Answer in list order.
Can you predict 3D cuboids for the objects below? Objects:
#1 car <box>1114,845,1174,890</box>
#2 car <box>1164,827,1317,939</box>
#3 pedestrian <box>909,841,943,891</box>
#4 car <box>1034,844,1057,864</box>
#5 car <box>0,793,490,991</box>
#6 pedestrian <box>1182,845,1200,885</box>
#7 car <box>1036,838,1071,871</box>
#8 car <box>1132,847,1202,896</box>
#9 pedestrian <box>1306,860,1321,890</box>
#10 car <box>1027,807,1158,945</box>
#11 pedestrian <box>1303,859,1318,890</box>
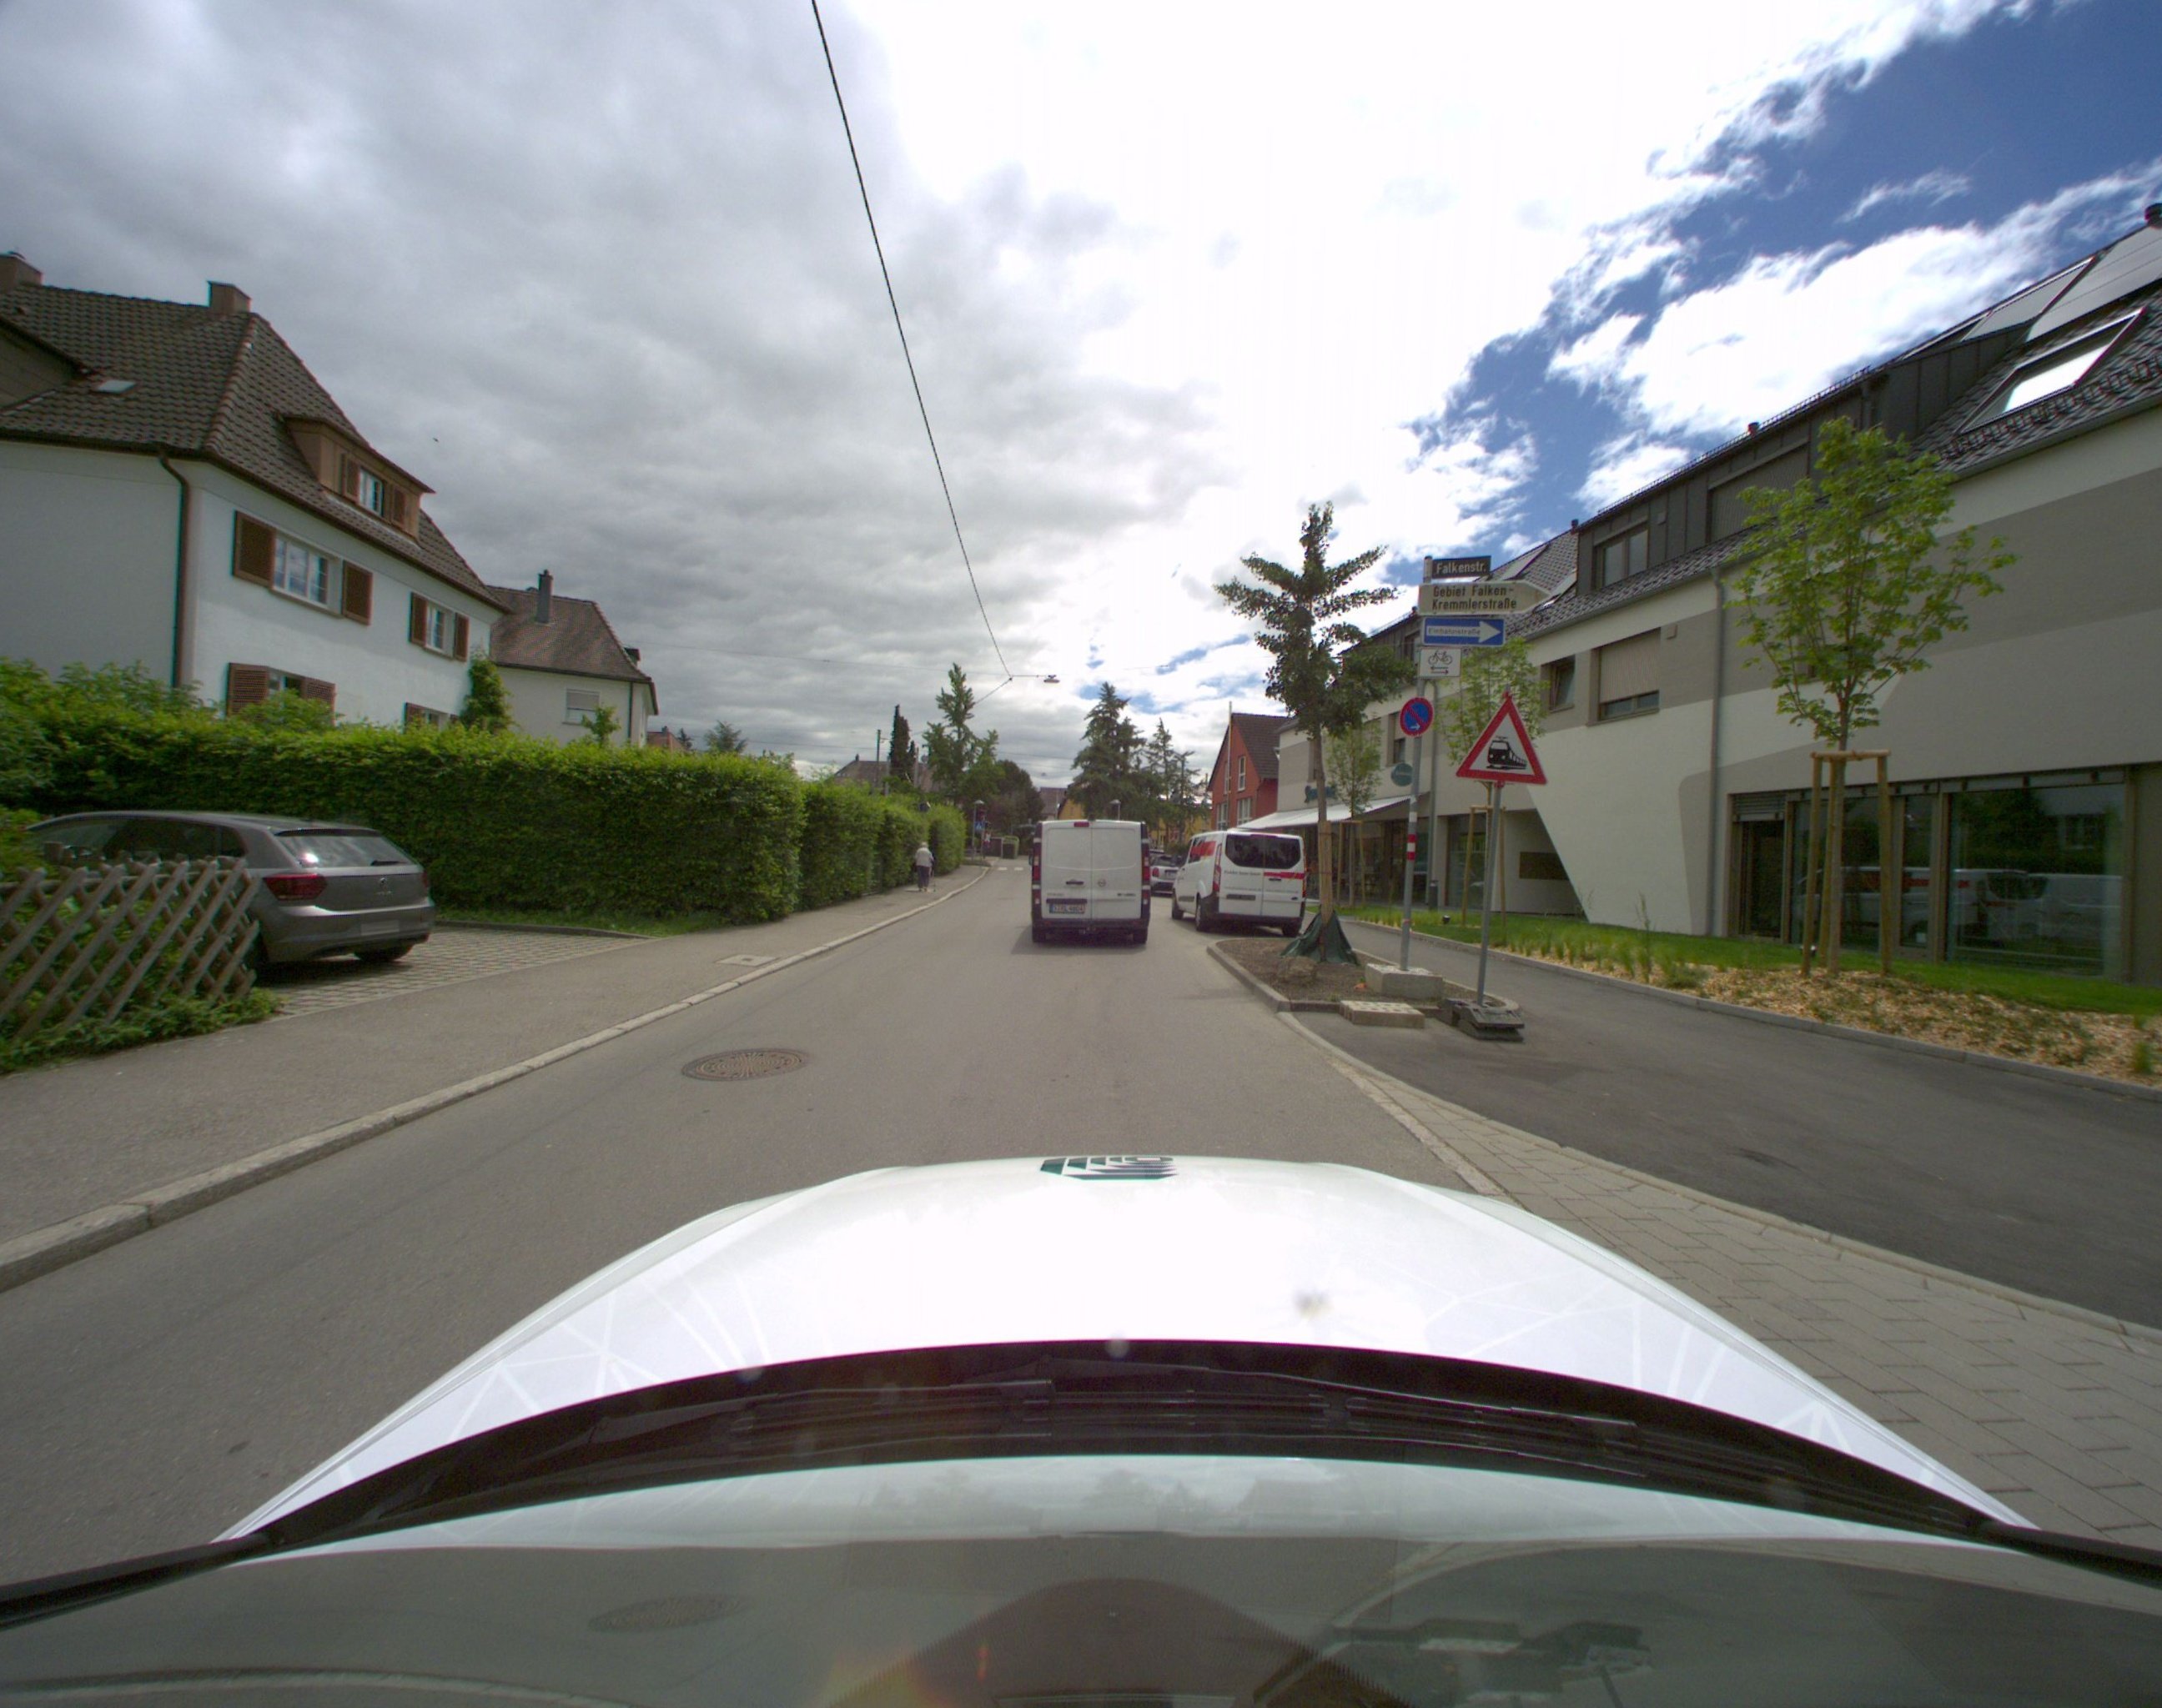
[{"bbox_3d":[2.534,0.502,33.591,1.699,1.614,4.251,4,0,-5],"label":"car"},{"bbox_3d":[3.143,0.540,17.202,1.954,1.916,4.896,4,-1,-3],"label":"car"},{"bbox_3d":[-4.891,0.377,25.662,0.879,1.485,0.452,4,-1,-22],"label":"pedestrian"},{"bbox_3d":[-3.245,0.039,74.764,1.988,1.782,3.997,1,0,-2],"label":"car"},{"bbox_3d":[-8.098,0.290,7.631,3.660,1.434,1.817,4,-1,0],"label":"car"},{"bbox_3d":[4.654,0.461,34.459,0.589,1.607,0.529,4,-1,-1],"label":"pedestrian"},{"bbox_3d":[-1.675,0.035,49.775,1.988,1.848,3.997,1,0,-2],"label":"car"},{"bbox_3d":[2.965,0.596,28.868,1.739,1.494,3.649,4,-1,-5],"label":"car"},{"bbox_3d":[9.032,0.804,31.617,0.420,1.165,0.323,2,-1,-4],"label":"pedestrian"},{"bbox_3d":[0.122,0.350,14.312,1.910,2.003,4.435,1,-1,-2],"label":"car"},{"bbox_3d":[9.002,0.794,31.958,0.420,1.182,0.323,2,-1,-4],"label":"pedestrian"}]
